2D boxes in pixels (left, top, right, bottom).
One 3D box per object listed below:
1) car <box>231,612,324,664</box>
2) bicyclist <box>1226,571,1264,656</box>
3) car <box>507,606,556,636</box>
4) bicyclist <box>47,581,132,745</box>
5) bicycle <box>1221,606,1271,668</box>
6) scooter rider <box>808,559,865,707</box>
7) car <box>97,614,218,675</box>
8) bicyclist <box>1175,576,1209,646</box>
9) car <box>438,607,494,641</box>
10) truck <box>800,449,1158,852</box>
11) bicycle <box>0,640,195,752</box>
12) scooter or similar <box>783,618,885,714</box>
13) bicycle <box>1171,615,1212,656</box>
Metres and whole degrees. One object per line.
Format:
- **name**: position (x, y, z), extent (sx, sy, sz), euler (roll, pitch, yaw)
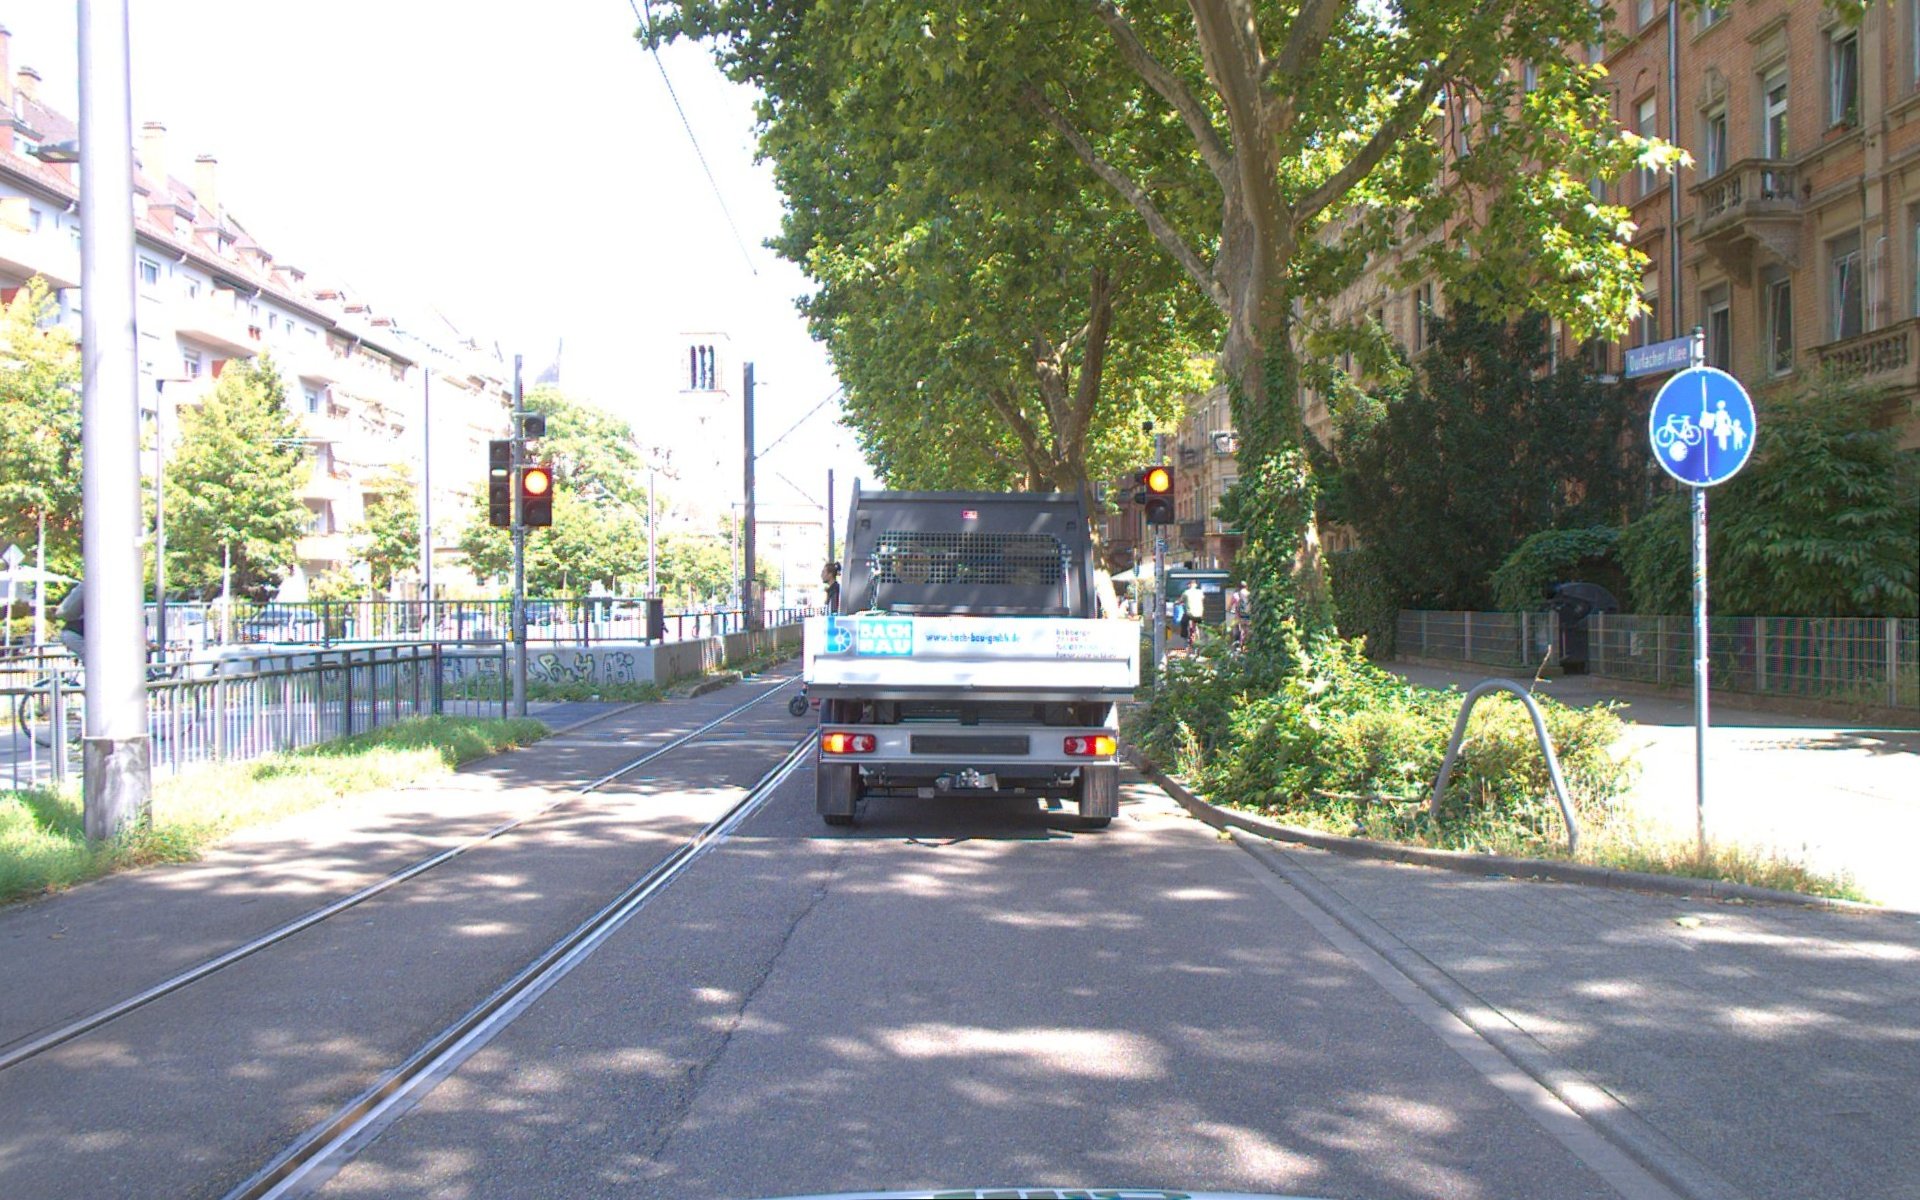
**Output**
- **car**: position (-22.261, 1.215, 54.104), extent (1.737, 1.524, 3.994), euler (-2, 0, -7)
- **bicyclist**: position (5.449, 0.255, 31.648), extent (0.625, 1.601, 0.579), euler (-1, 0, 0)
- **car**: position (-23.094, 1.111, 89.242), extent (1.735, 1.524, 3.998), euler (-1, 0, -2)
- **bicyclist**: position (-9.019, 0.635, 17.128), extent (0.688, 1.651, 0.616), euler (0, 0, -38)
- **bicycle**: position (5.454, 0.685, 31.591), extent (0.553, 1.131, 2.310), euler (-1, 0, 0)
- **scooter rider**: position (-1.614, 0.429, 21.660), extent (0.653, 1.899, 0.664), euler (-1, 0, 2)
- **car**: position (-22.084, 1.194, 45.674), extent (1.737, 1.524, 3.994), euler (-2, 0, -7)
- **bicyclist**: position (5.331, 0.257, 38.053), extent (0.666, 1.591, 0.777), euler (-1, 0, 0)
- **car**: position (-22.580, 1.077, 75.676), extent (1.737, 1.524, 3.994), euler (-1, 0, -7)
- **truck**: position (0.116, 0.303, 12.086), extent (2.094, 2.359, 4.401), euler (1, 0, 0)
- **bicycle**: position (-9.007, 0.970, 17.117), extent (1.907, 1.067, 0.525), euler (0, 0, -39)
- **scooter or similar**: position (-1.640, 0.856, 21.648), extent (1.240, 1.225, 0.657), euler (-1, 0, 2)
- **bicycle**: position (5.333, 0.803, 38.171), extent (0.661, 0.897, 2.163), euler (-1, 0, 0)
